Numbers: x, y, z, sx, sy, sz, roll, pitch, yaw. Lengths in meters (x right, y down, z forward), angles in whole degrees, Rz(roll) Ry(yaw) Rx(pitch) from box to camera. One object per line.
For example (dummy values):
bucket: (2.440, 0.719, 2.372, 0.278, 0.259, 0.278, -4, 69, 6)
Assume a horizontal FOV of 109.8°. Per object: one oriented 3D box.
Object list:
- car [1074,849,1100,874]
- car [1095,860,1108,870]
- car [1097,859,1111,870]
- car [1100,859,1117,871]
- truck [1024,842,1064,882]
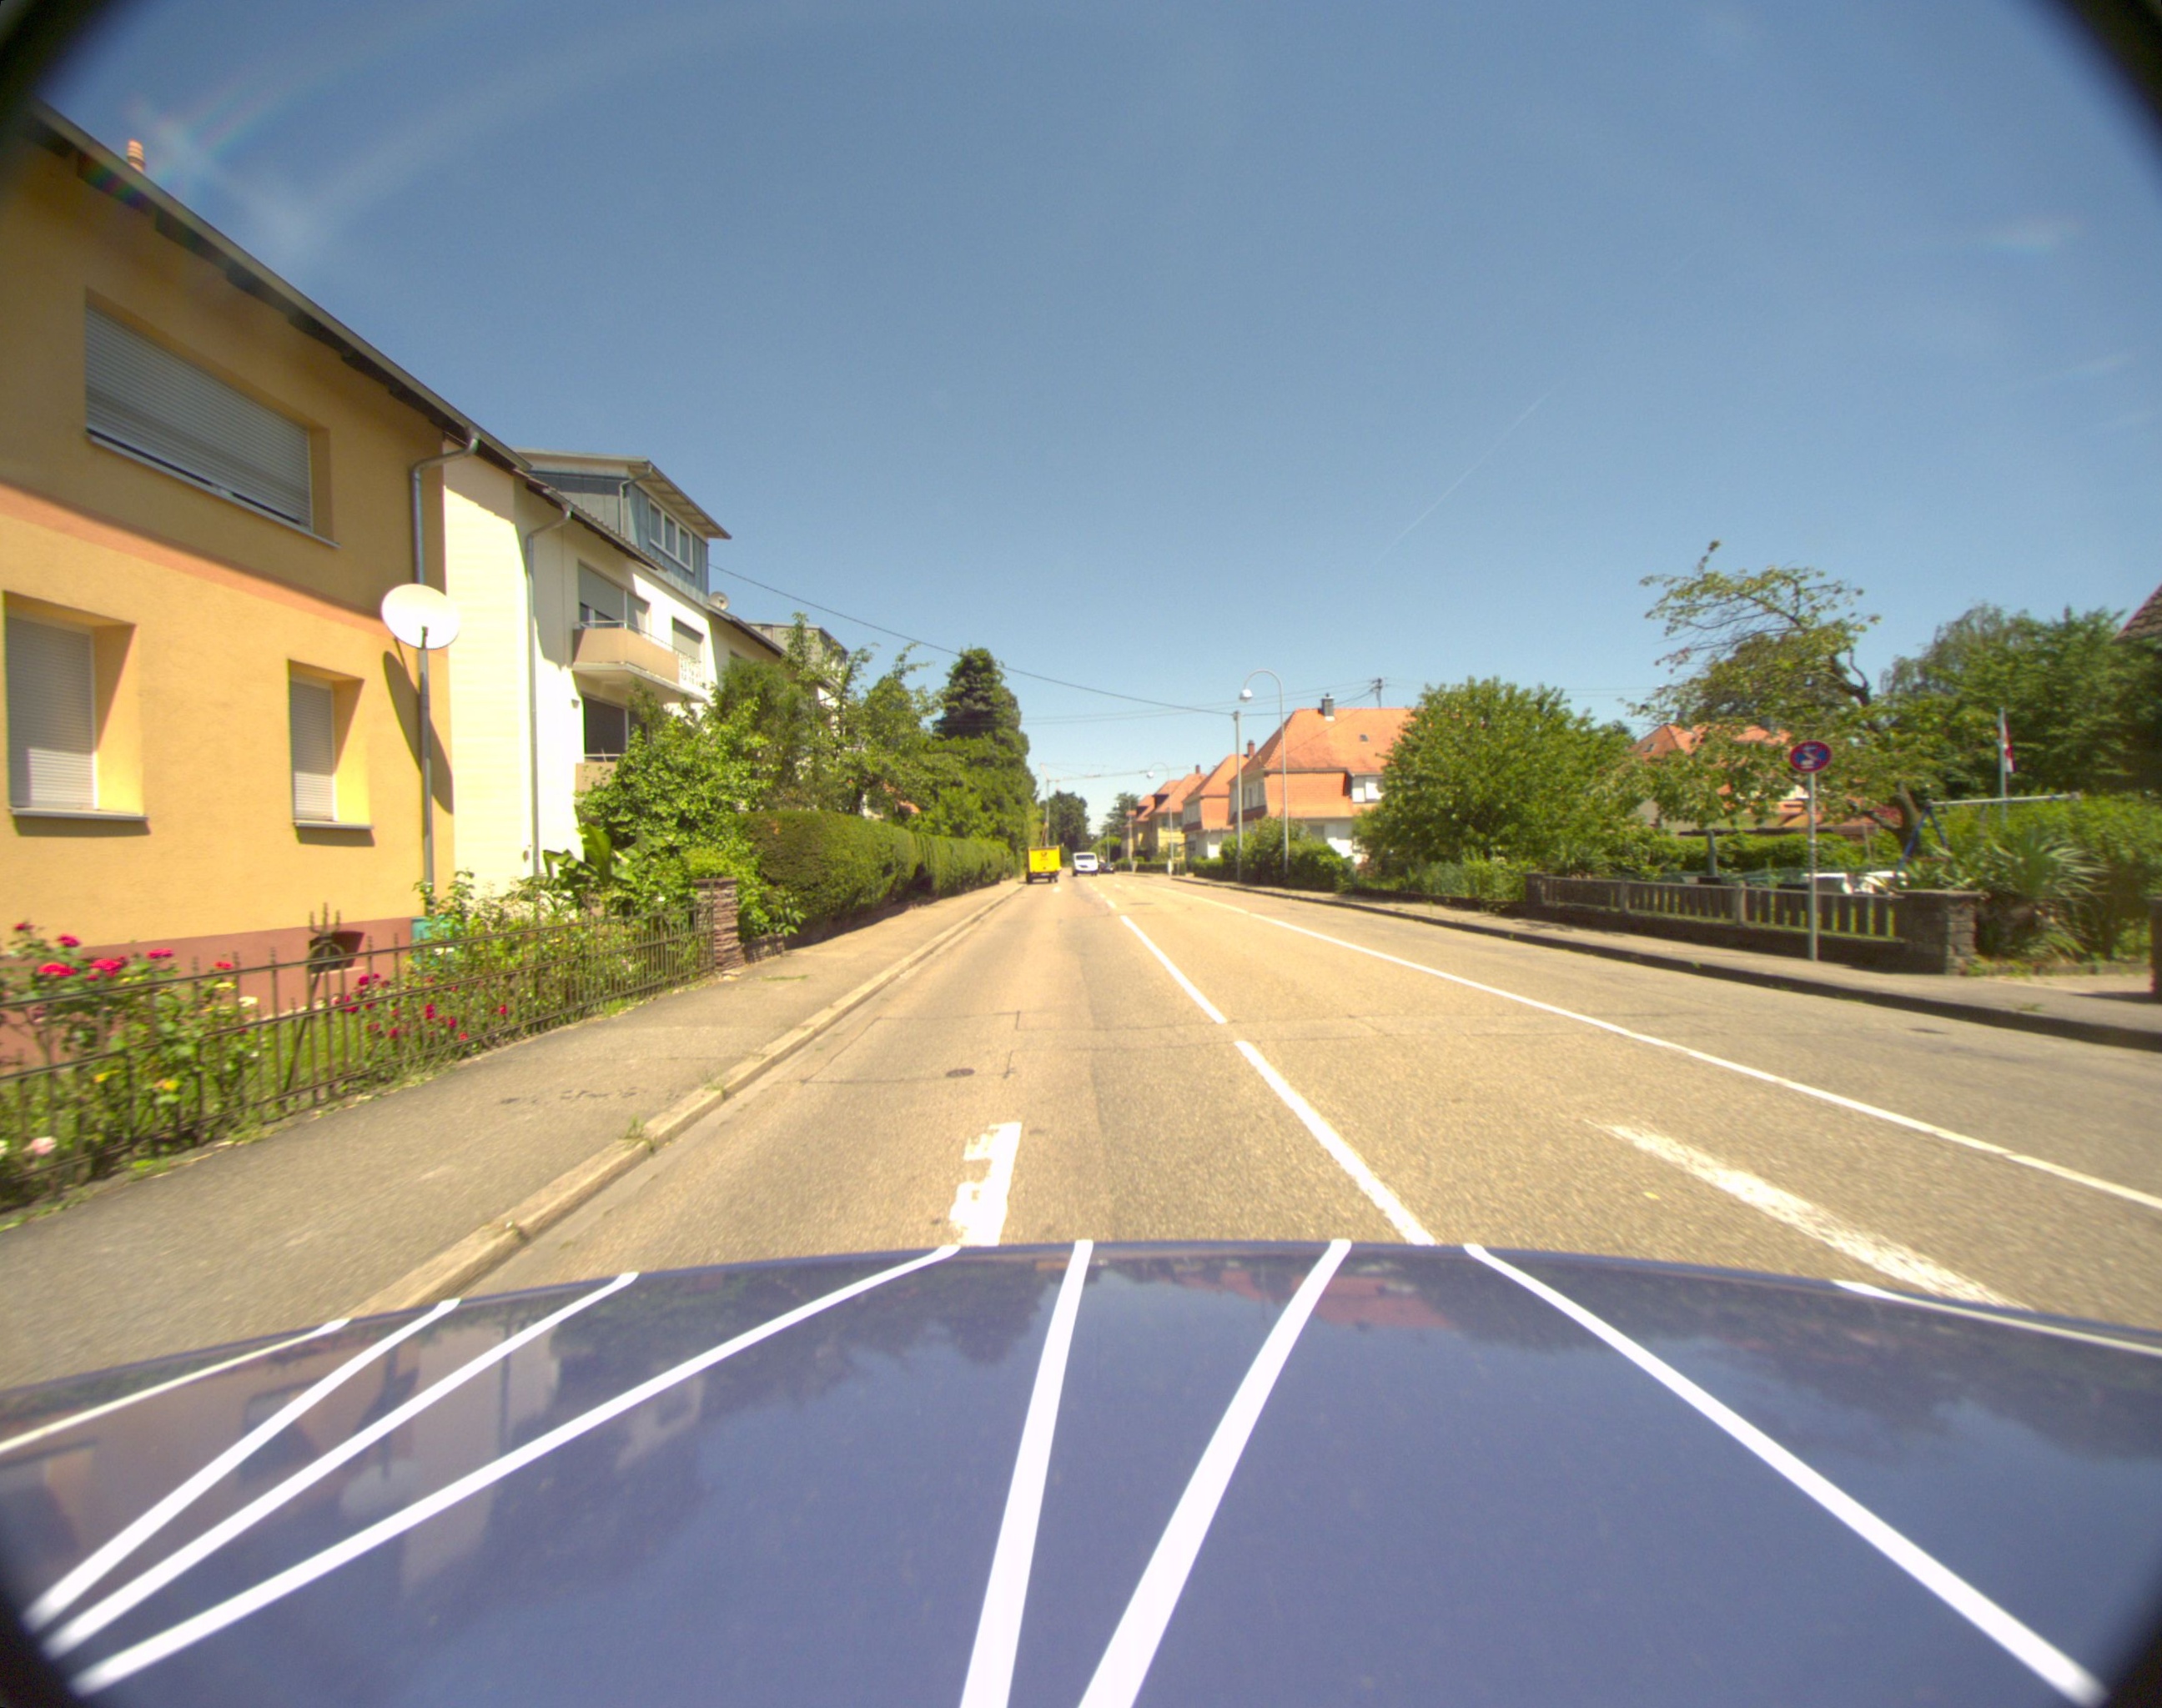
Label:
car: (0.461, 0.625, 64.123, 1.999, 2.001, 4.386, -2, -1, -1)
car: (2.878, 1.542, 107.014, 1.754, 1.427, 4.000, 0, -1, -1)
car: (3.002, 1.427, 101.733, 1.753, 1.389, 4.001, 0, -1, 0)
car: (3.301, 1.283, 92.186, 1.754, 1.390, 4.000, 1, -1, -2)
truck: (-2.471, 0.553, 49.498, 2.019, 2.295, 6.173, -4, 0, -7)
